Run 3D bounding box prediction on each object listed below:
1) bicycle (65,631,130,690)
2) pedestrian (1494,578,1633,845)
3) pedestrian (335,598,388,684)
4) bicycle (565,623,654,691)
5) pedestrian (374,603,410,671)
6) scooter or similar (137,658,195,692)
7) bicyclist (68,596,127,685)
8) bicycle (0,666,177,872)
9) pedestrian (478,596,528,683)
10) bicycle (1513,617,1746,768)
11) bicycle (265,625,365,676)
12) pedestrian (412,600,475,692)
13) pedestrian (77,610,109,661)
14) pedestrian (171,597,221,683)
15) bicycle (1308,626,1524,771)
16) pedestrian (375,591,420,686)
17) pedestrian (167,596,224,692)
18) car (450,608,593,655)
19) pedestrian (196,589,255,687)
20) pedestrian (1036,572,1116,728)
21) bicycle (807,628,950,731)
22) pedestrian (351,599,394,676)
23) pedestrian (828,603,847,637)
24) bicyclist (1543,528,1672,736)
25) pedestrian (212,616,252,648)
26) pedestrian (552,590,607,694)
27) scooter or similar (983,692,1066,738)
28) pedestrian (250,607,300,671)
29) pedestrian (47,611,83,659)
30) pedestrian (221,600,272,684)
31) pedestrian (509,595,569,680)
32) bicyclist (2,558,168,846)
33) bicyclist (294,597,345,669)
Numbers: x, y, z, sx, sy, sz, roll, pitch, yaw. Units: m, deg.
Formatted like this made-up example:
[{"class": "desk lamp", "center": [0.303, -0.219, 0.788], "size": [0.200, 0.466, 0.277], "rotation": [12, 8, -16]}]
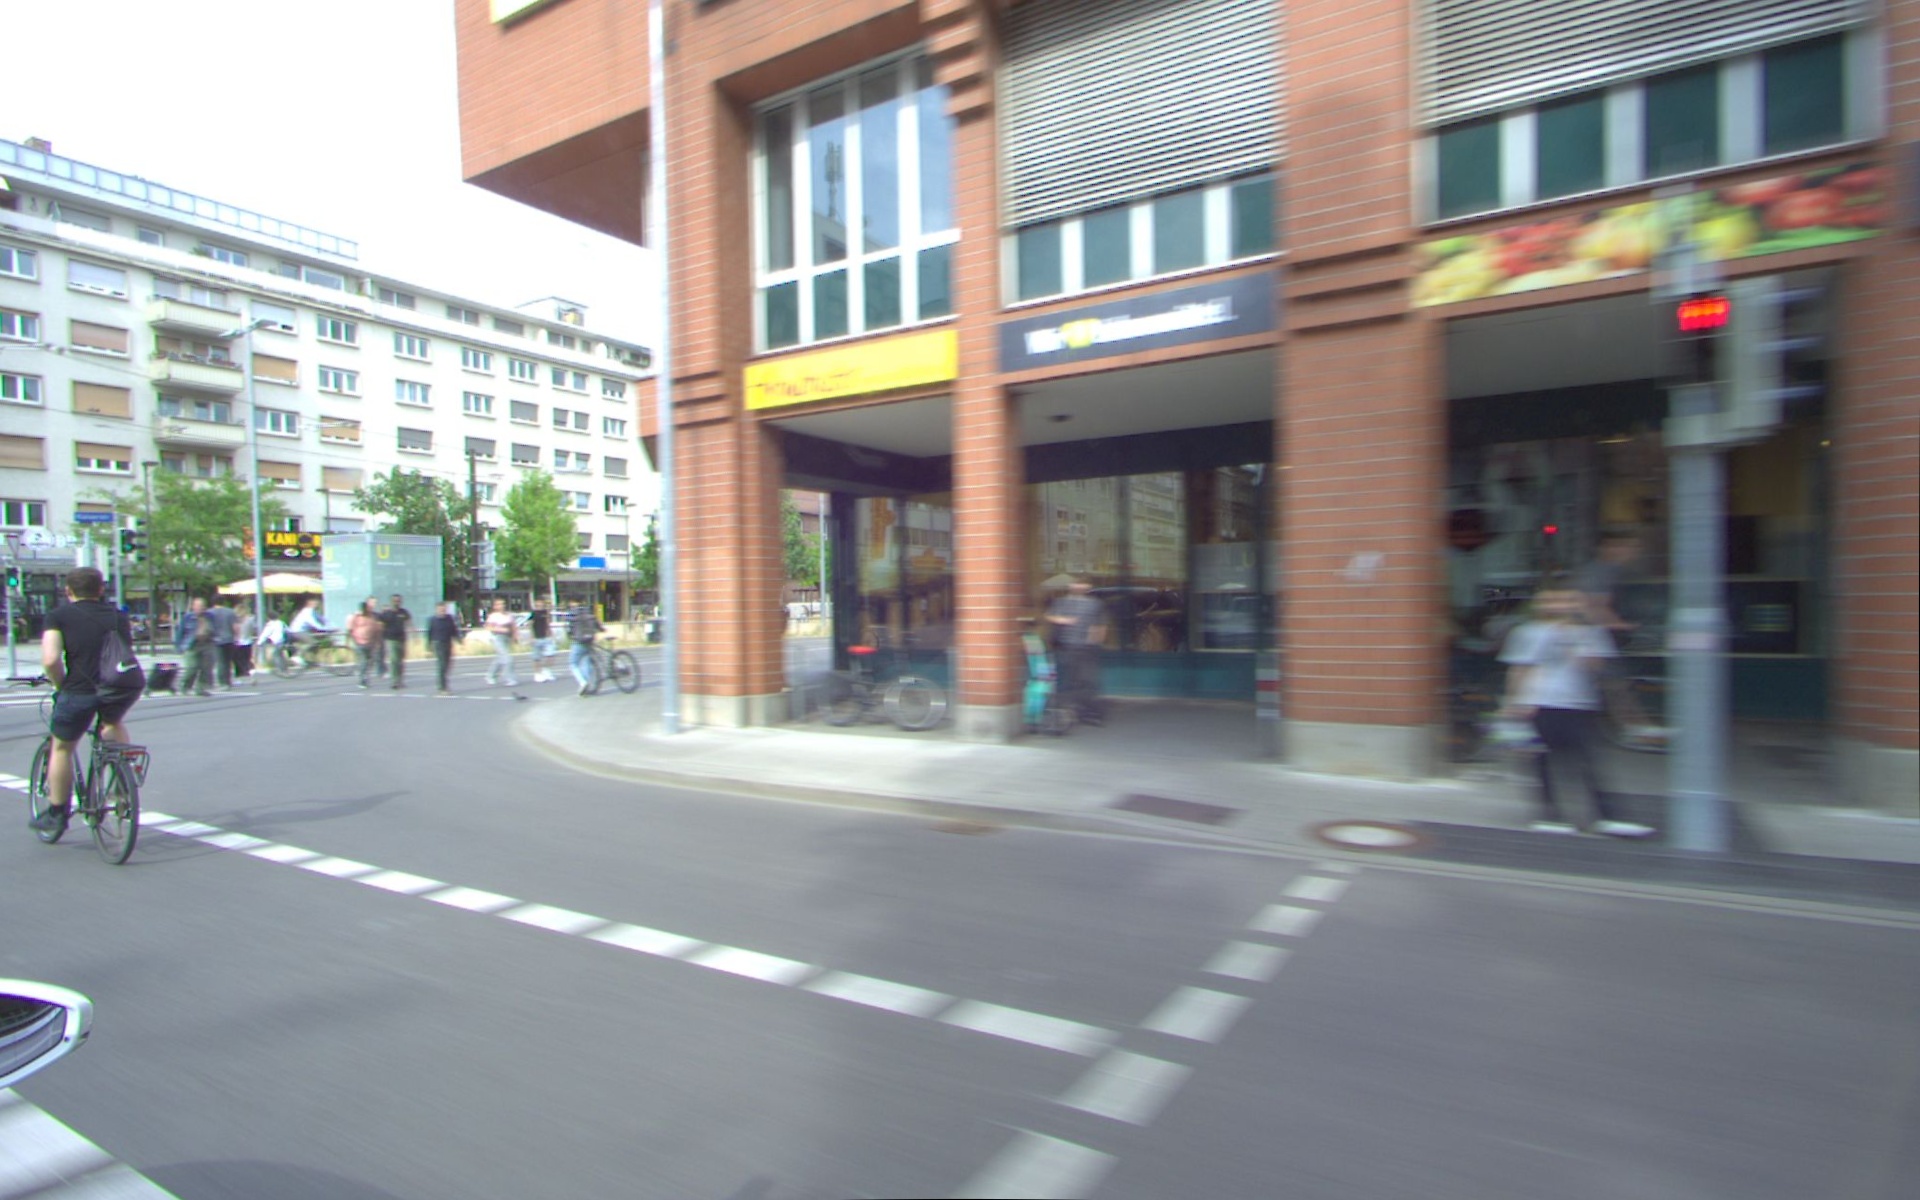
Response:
[{"class": "bicycle", "center": [-17.219, 1.186, 19.976], "size": [2.047, 1.137, 0.389], "rotation": [-1, 1, 32]}, {"class": "pedestrian", "center": [3.971, 0.696, 6.593], "size": [0.723, 1.654, 0.404], "rotation": [0, 3, 39]}, {"class": "pedestrian", "center": [-11.958, 0.809, 20.006], "size": [0.880, 1.674, 0.540], "rotation": [0, 1, 32]}, {"class": "bicycle", "center": [-6.037, 0.958, 17.223], "size": [1.804, 1.125, 0.395], "rotation": [-1, 1, 32]}, {"class": "pedestrian", "center": [-12.992, 0.836, 22.914], "size": [0.619, 1.531, 0.591], "rotation": [-1, 1, -21]}, {"class": "scooter or similar", "center": [-14.698, 1.384, 18.544], "size": [0.802, 0.581, 0.507], "rotation": [-1, 0, 22]}, {"class": "bicyclist", "center": [-17.182, 0.792, 19.957], "size": [0.850, 1.732, 0.639], "rotation": [0, 1, 32]}, {"class": "bicycle", "center": [-5.825, 1.045, 6.641], "size": [1.989, 1.137, 0.404], "rotation": [0, 1, 35]}, {"class": "pedestrian", "center": [-9.201, 0.784, 20.162], "size": [0.641, 1.711, 0.645], "rotation": [0, 1, 31]}, {"class": "bicycle", "center": [6.025, 0.778, 9.129], "size": [0.619, 1.099, 1.745], "rotation": [-5, 4, -18]}, {"class": "bicycle", "center": [-14.955, 1.151, 23.251], "size": [1.888, 1.101, 0.390], "rotation": [-1, 1, -23]}, {"class": "pedestrian", "center": [-9.406, 0.816, 18.246], "size": [0.908, 1.622, 0.617], "rotation": [0, 1, 32]}, {"class": "pedestrian", "center": [-28.868, 1.182, 33.361], "size": [0.433, 1.663, 0.675], "rotation": [0, 1, 31]}, {"class": "pedestrian", "center": [-15.490, 0.809, 20.303], "size": [0.783, 1.708, 0.468], "rotation": [-1, 1, 27]}, {"class": "bicycle", "center": [4.159, 0.843, 9.252], "size": [0.621, 1.099, 1.739], "rotation": [-6, 4, -33]}, {"class": "pedestrian", "center": [-10.989, 0.729, 19.550], "size": [0.553, 1.821, 0.540], "rotation": [0, 1, 31]}, {"class": "pedestrian", "center": [-14.020, 0.787, 18.366], "size": [0.591, 1.710, 0.637], "rotation": [0, 1, 31]}, {"class": "car", "center": [-16.306, 1.136, 37.473], "size": [1.971, 1.532, 4.578], "rotation": [-1, 0, 32]}, {"class": "pedestrian", "center": [-14.448, 0.728, 19.699], "size": [0.864, 1.879, 0.637], "rotation": [0, 1, 32]}, {"class": "pedestrian", "center": [1.331, 0.559, 11.584], "size": [0.685, 1.719, 0.646], "rotation": [-2, 2, -14]}, {"class": "bicycle", "center": [-0.979, 0.904, 11.789], "size": [1.675, 1.107, 0.563], "rotation": [-1, 3, 35]}, {"class": "pedestrian", "center": [-13.020, 0.816, 22.207], "size": [0.709, 1.670, 0.705], "rotation": [-1, 1, -21]}, {"class": "pedestrian", "center": [-7.597, 1.229, 62.014], "size": [0.748, 2.040, 0.904], "rotation": [-1, 1, 28]}, {"class": "bicyclist", "center": [5.956, 0.272, 9.232], "size": [0.611, 1.804, 0.764], "rotation": [-4, 3, -19]}, {"class": "pedestrian", "center": [-29.370, 1.292, 40.398], "size": [0.922, 1.261, 1.029], "rotation": [-1, -2, 34]}, {"class": "pedestrian", "center": [-6.419, 0.698, 16.898], "size": [0.715, 1.708, 0.518], "rotation": [0, 1, 32]}, {"class": "scooter or similar", "center": [0.703, 1.250, 10.962], "size": [0.878, 0.424, 0.262], "rotation": [0, 1, 30]}, {"class": "pedestrian", "center": [-16.747, 0.947, 24.499], "size": [0.832, 1.520, 0.552], "rotation": [-2, 0, 16]}, {"class": "pedestrian", "center": [-30.448, 1.183, 34.079], "size": [0.409, 1.597, 0.817], "rotation": [0, 1, 33]}, {"class": "pedestrian", "center": [-14.836, 0.859, 20.824], "size": [0.696, 1.718, 0.632], "rotation": [0, 1, 31]}, {"class": "pedestrian", "center": [-8.792, 0.765, 20.901], "size": [1.041, 1.737, 0.645], "rotation": [0, 1, 32]}, {"class": "bicyclist", "center": [-5.657, 0.616, 6.478], "size": [0.850, 1.732, 0.557], "rotation": [0, 1, 32]}, {"class": "bicyclist", "center": [-14.870, 0.751, 23.264], "size": [0.848, 1.624, 0.640], "rotation": [-1, 1, -23]}]
